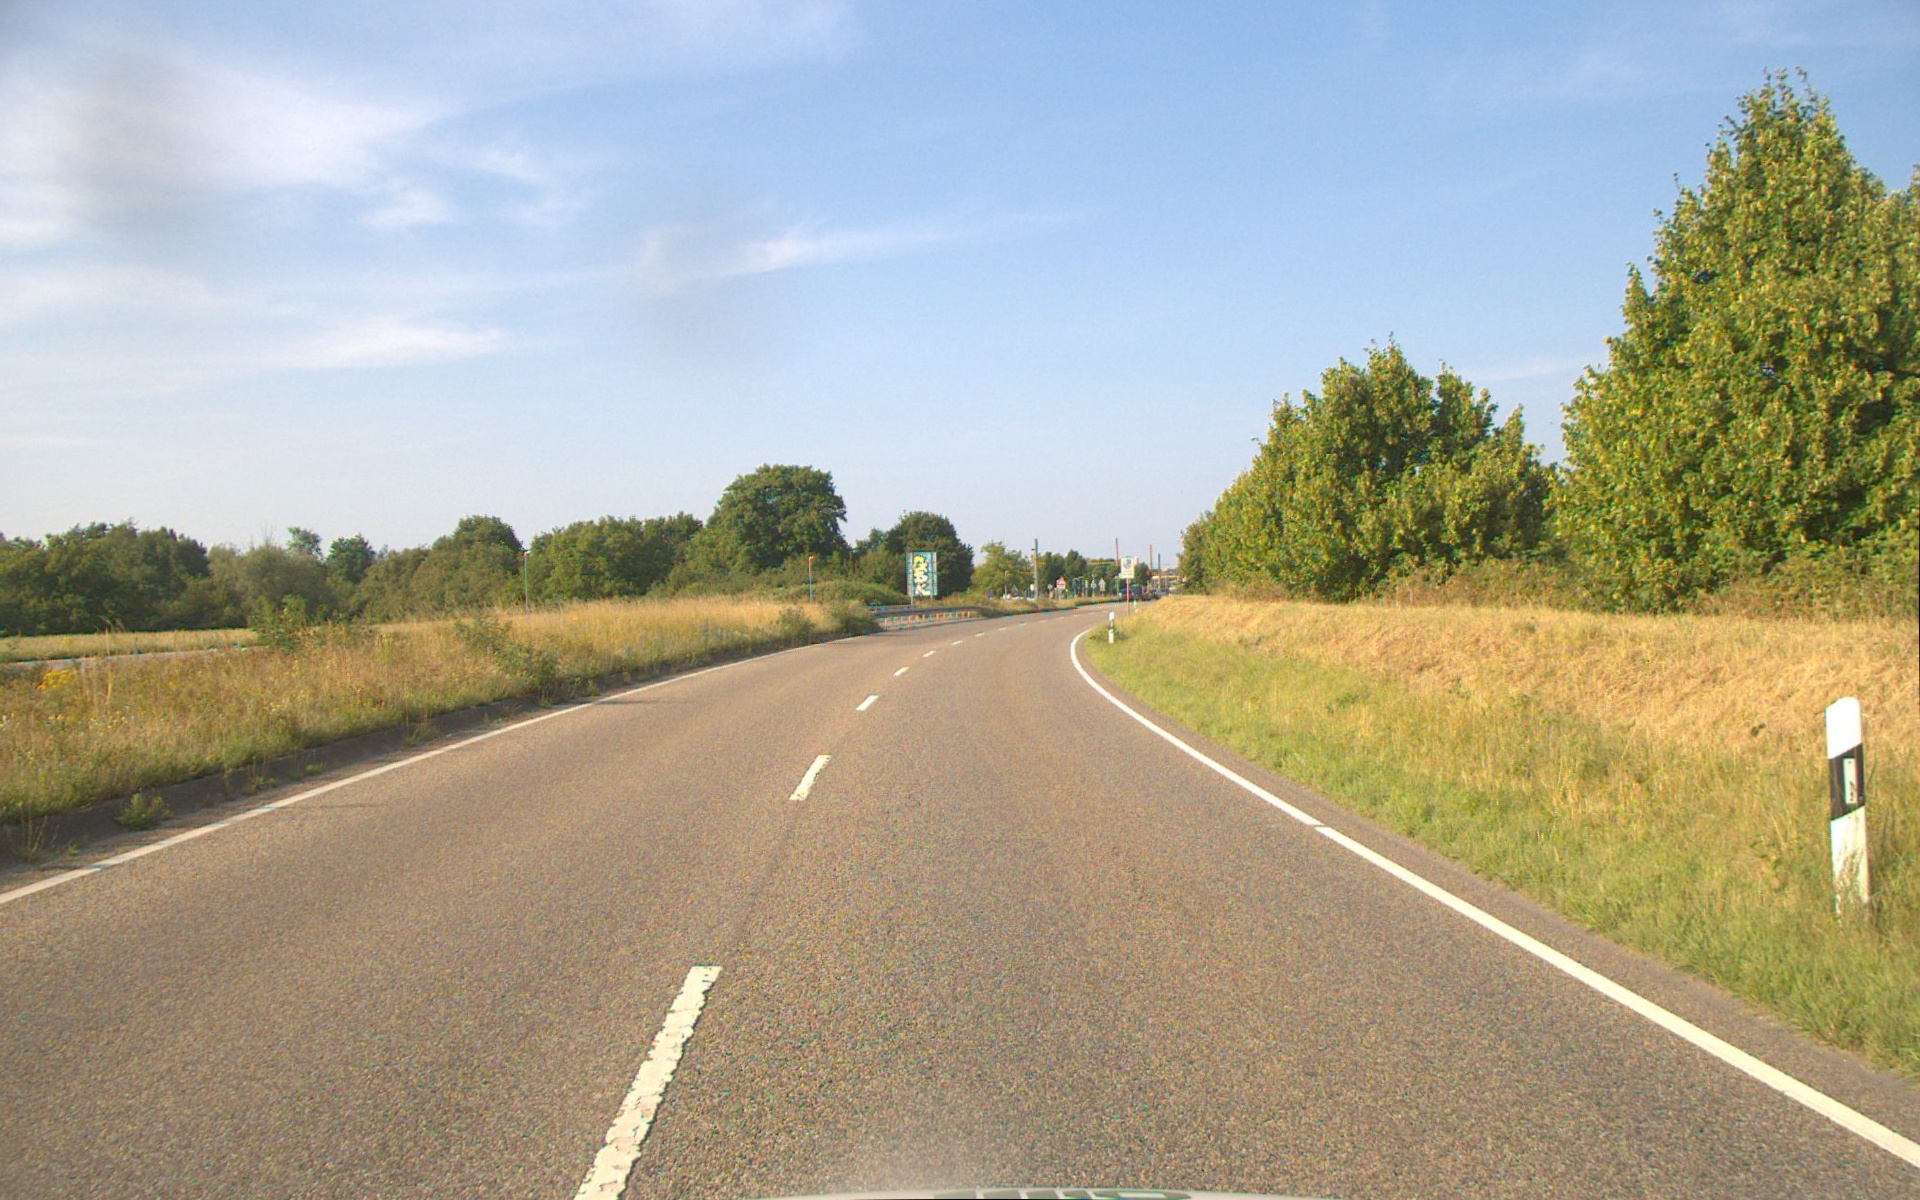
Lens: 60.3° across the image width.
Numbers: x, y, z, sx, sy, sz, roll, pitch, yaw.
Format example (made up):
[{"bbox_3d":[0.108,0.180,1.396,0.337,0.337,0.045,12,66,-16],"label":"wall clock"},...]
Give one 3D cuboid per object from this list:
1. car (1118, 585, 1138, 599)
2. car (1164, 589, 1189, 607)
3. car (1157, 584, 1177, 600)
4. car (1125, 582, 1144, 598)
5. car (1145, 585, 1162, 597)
[{"bbox_3d":[19.066,-0.896,187.742,1.695,1.481,4.524,-1,0,13],"label":"car"},{"bbox_3d":[20.885,-0.199,159.436,1.951,1.579,4.004,-1,0,13],"label":"car"},{"bbox_3d":[28.659,-1.145,228.894,1.951,2.049,4.839,-1,-2,15],"label":"car"},{"bbox_3d":[20.566,-1.162,194.422,1.695,1.888,4.524,-1,0,13],"label":"car"},{"bbox_3d":[24.761,-1.126,211.482,1.732,1.497,4.019,-1,0,13],"label":"car"}]
